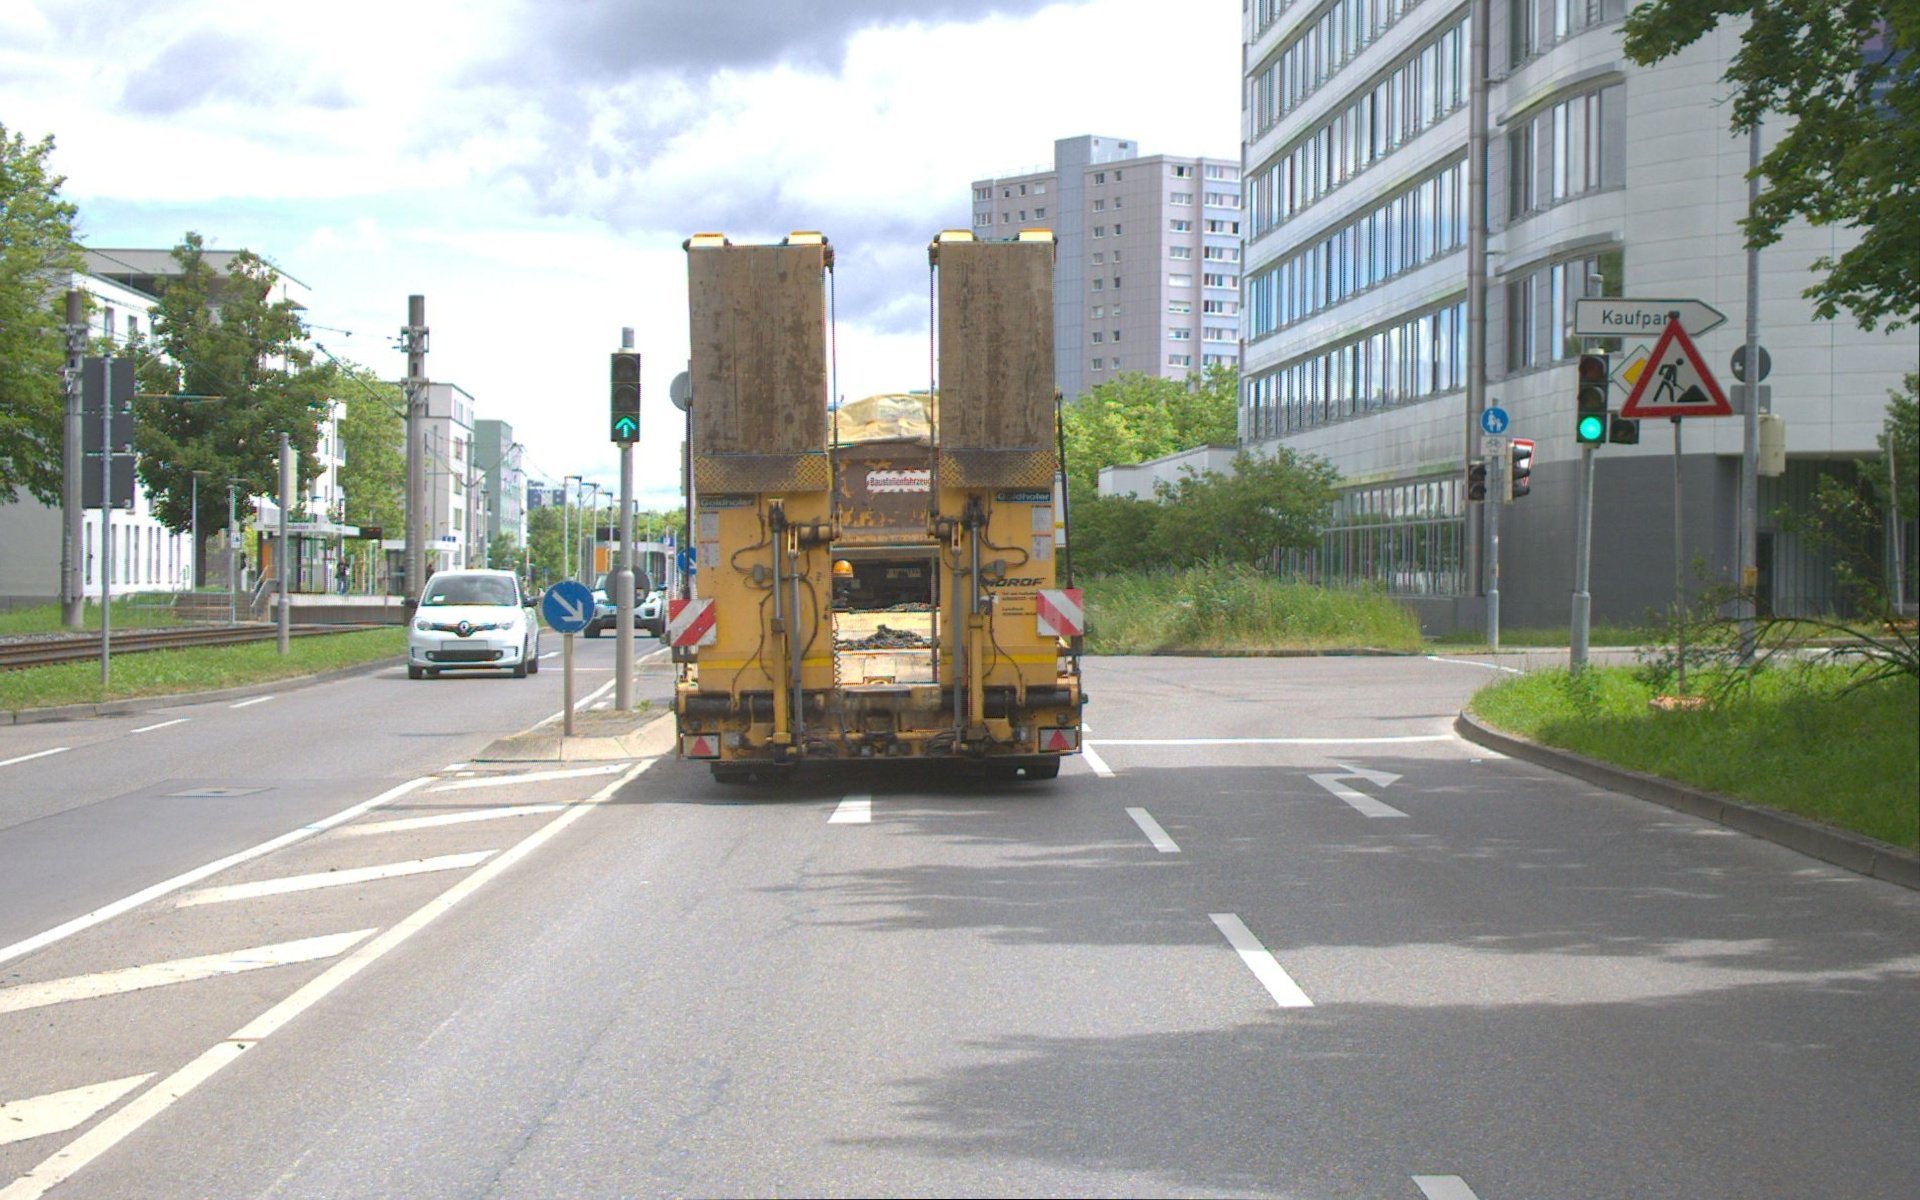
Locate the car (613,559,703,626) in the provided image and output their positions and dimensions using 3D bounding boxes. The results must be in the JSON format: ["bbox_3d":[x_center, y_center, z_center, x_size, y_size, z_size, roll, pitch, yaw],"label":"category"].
[{"bbox_3d":[-7.519,-0.211,85.893,1.860,1.604,4.608,0,1,0],"label":"car"}]

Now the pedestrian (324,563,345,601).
[{"bbox_3d":[-25.485,-0.731,140.101,0.741,1.526,0.547,1,0,1],"label":"pedestrian"}]

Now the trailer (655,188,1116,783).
[{"bbox_3d":[-0.756,-0.663,26.296,2.729,3.547,11.254,1,0,-3],"label":"trailer"}]

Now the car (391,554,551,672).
[{"bbox_3d":[-7.001,0.188,49.544,1.728,1.607,4.263,1,0,-1],"label":"car"}]

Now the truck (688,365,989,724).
[{"bbox_3d":[-1.307,-0.498,36.101,2.753,3.302,8.352,1,0,-2],"label":"truck"}]
